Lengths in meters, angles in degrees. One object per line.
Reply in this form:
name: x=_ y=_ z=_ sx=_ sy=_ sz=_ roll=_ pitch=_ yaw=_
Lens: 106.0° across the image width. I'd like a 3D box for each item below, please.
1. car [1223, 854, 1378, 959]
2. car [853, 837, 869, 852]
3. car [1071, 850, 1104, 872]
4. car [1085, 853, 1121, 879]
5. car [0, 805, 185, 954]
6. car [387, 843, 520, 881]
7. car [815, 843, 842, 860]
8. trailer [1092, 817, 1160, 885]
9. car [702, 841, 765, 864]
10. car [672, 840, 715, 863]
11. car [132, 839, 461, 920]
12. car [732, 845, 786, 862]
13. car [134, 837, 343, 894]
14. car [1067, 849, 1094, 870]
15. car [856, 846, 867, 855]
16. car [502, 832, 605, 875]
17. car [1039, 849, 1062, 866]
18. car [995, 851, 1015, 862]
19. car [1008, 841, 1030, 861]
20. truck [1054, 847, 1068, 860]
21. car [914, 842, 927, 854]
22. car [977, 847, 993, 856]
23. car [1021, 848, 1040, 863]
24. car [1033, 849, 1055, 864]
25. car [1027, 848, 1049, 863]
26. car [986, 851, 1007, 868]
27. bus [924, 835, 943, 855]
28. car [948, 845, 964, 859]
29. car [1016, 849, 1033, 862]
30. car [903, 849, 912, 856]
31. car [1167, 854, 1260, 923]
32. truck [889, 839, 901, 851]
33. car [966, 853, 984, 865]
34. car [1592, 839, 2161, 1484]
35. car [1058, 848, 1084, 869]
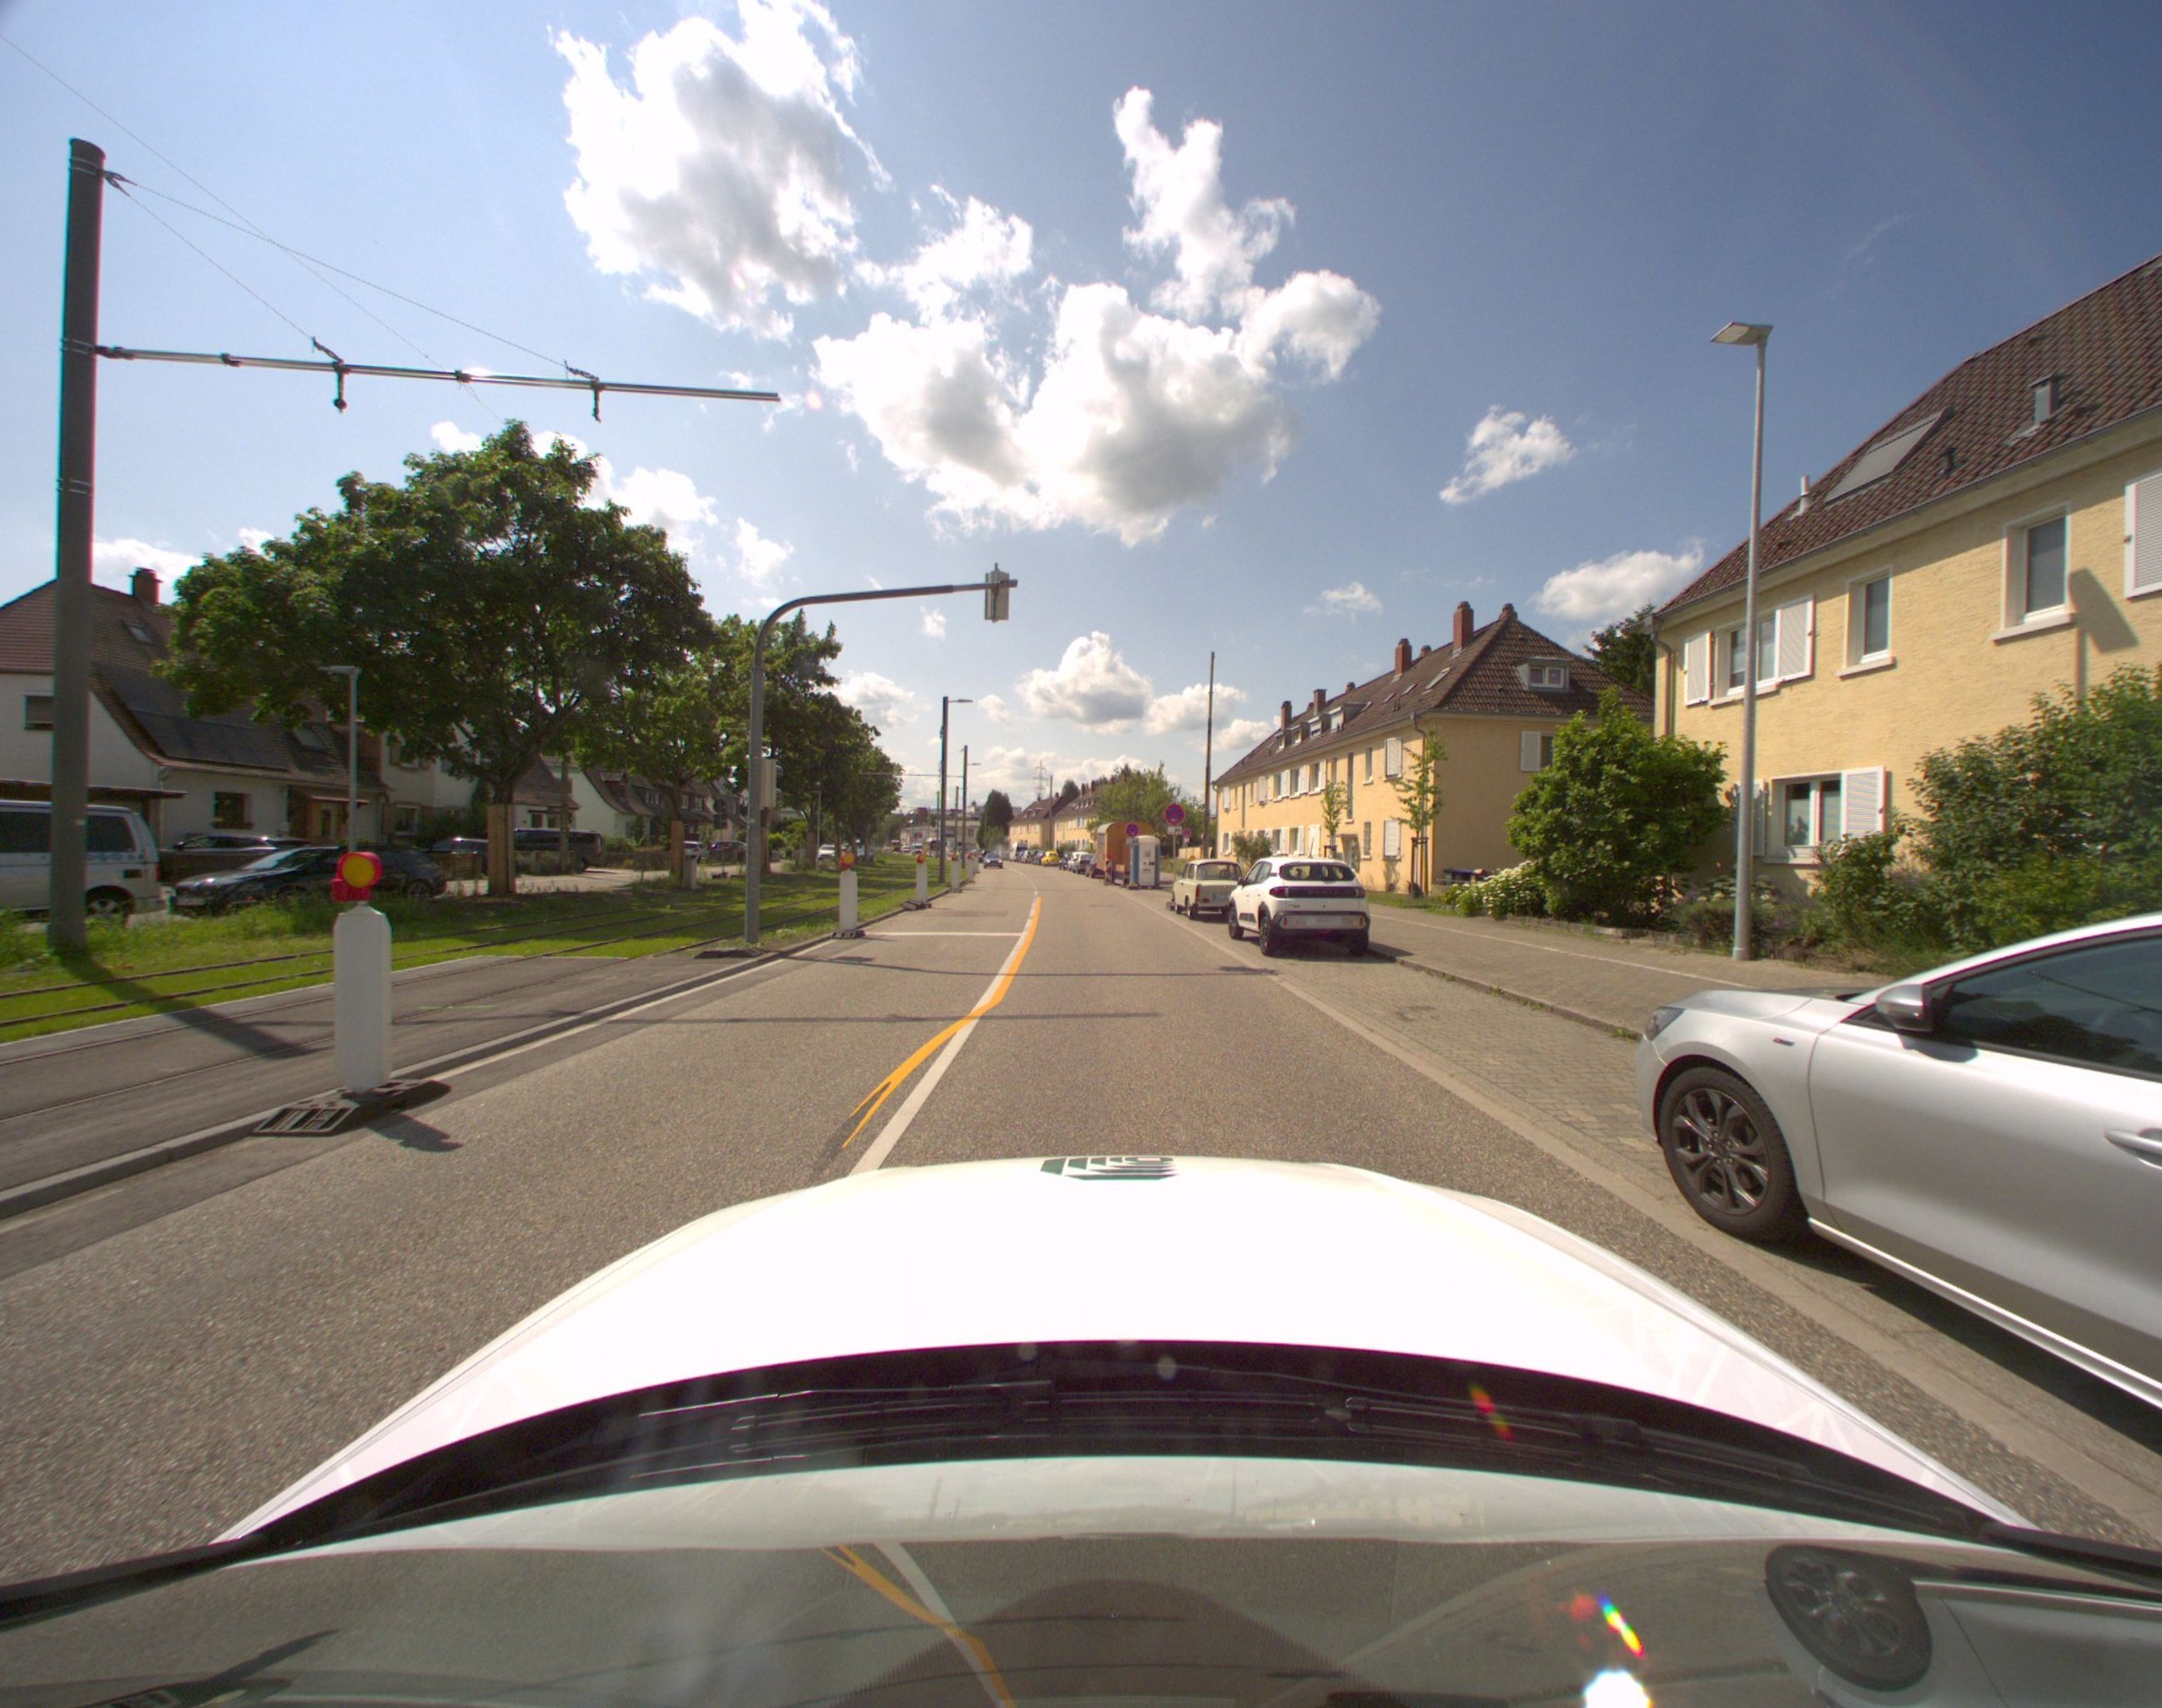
car: x=3.459 y=0.739 z=13.496 sx=1.523 sy=1.481 sz=3.808 roll=0 pitch=0 yaw=0
car: x=-40.897 y=-1.699 z=151.109 sx=2.081 sy=2.721 sz=6.953 roll=-1 pitch=1 yaw=-21
car: x=0.435 y=0.472 z=57.816 sx=1.705 sy=1.449 sz=4.823 roll=1 pitch=0 yaw=-7
car: x=1.291 y=0.709 z=49.938 sx=1.576 sy=1.449 sz=4.443 roll=1 pitch=0 yaw=-7
car: x=-15.594 y=0.333 z=10.800 sx=1.987 sy=2.013 sz=4.902 roll=1 pitch=0 yaw=-1
car: x=-25.213 y=0.308 z=32.827 sx=3.879 sy=1.457 sz=1.732 roll=1 pitch=0 yaw=-7
car: x=-27.144 y=-0.225 z=87.736 sx=1.879 sy=1.768 sz=5.072 roll=1 pitch=0 yaw=-6
trailer: x=2.206 y=-0.173 z=41.648 sx=2.686 sy=3.226 sz=5.072 roll=1 pitch=0 yaw=-6
car: x=-29.001 y=-0.086 z=68.168 sx=4.473 sy=1.836 sz=2.057 roll=1 pitch=0 yaw=-12
car: x=-27.269 y=-0.184 z=57.445 sx=1.728 sy=1.517 sz=4.030 roll=1 pitch=0 yaw=-10
car: x=-15.517 y=0.441 z=16.603 sx=1.844 sy=1.387 sz=4.813 roll=1 pitch=0 yaw=3
car: x=-30.311 y=-0.089 z=76.796 sx=4.473 sy=1.523 sz=1.918 roll=1 pitch=0 yaw=-12
car: x=-24.929 y=0.325 z=24.235 sx=3.982 sy=1.530 sz=1.870 roll=1 pitch=0 yaw=-7
car: x=-0.063 y=0.402 z=62.879 sx=1.576 sy=1.513 sz=4.449 roll=1 pitch=0 yaw=-7
car: x=-38.782 y=-0.697 z=143.933 sx=1.732 sy=1.505 sz=4.543 roll=-1 pitch=1 yaw=-16
car: x=-25.656 y=-0.007 z=39.770 sx=3.903 sy=1.897 sz=1.927 roll=3 pitch=-1 yaw=-26
car: x=-3.024 y=0.319 z=80.281 sx=1.636 sy=1.482 sz=3.918 roll=-2 pitch=1 yaw=-10
car: x=-10.917 y=0.359 z=116.907 sx=1.803 sy=1.458 sz=4.737 roll=-1 pitch=0 yaw=-17
car: x=-7.951 y=-0.434 z=104.499 sx=1.932 sy=2.480 sz=5.492 roll=0 pitch=0 yaw=-13
truck: x=-2.519 y=-0.037 z=103.313 sx=1.347 sy=1.688 sz=2.430 roll=1 pitch=0 yaw=-13
car: x=-34.299 y=-1.285 z=173.842 sx=2.108 sy=2.443 sz=5.537 roll=1 pitch=0 yaw=-18
car: x=-15.382 y=-0.394 z=130.475 sx=1.768 sy=1.417 sz=3.977 roll=-1 pitch=1 yaw=-17
car: x=-5.843 y=0.175 z=94.498 sx=1.637 sy=1.602 sz=4.012 roll=1 pitch=0 yaw=-12
car: x=-3.898 y=0.264 z=85.246 sx=1.637 sy=1.482 sz=4.107 roll=1 pitch=0 yaw=-12
car: x=-4.812 y=0.181 z=90.725 sx=1.638 sy=1.602 sz=3.912 roll=1 pitch=0 yaw=-14
car: x=-7.816 y=0.471 z=75.361 sx=1.665 sy=1.449 sz=3.947 roll=-2 pitch=1 yaw=-9
bus: x=-26.938 y=-1.640 z=148.317 sx=2.640 sy=3.412 sz=12.188 roll=-1 pitch=1 yaw=-14
car: x=-17.762 y=-0.302 z=115.568 sx=1.957 sy=1.966 sz=5.269 roll=0 pitch=0 yaw=-13
car: x=-6.859 y=0.163 z=99.269 sx=1.537 sy=1.445 sz=3.721 roll=1 pitch=0 yaw=-12
car: x=-42.822 y=-0.386 z=201.209 sx=1.739 sy=1.773 sz=4.282 roll=1 pitch=0 yaw=-18
car: x=3.139 y=0.768 z=20.047 sx=1.460 sy=1.502 sz=4.105 roll=0 pitch=0 yaw=-3
truck: x=-52.568 y=-2.542 z=229.945 sx=2.568 sy=3.459 sz=7.104 roll=-1 pitch=1 yaw=-19
car: x=-12.903 y=0.619 z=98.929 sx=1.726 sy=1.389 sz=4.103 roll=1 pitch=0 yaw=-13
car: x=3.379 y=0.710 z=1.814 sx=1.744 sy=1.497 sz=4.385 roll=0 pitch=0 yaw=0
car: x=-0.885 y=0.343 z=67.940 sx=1.549 sy=1.641 sz=4.232 roll=1 pitch=0 yaw=-10
